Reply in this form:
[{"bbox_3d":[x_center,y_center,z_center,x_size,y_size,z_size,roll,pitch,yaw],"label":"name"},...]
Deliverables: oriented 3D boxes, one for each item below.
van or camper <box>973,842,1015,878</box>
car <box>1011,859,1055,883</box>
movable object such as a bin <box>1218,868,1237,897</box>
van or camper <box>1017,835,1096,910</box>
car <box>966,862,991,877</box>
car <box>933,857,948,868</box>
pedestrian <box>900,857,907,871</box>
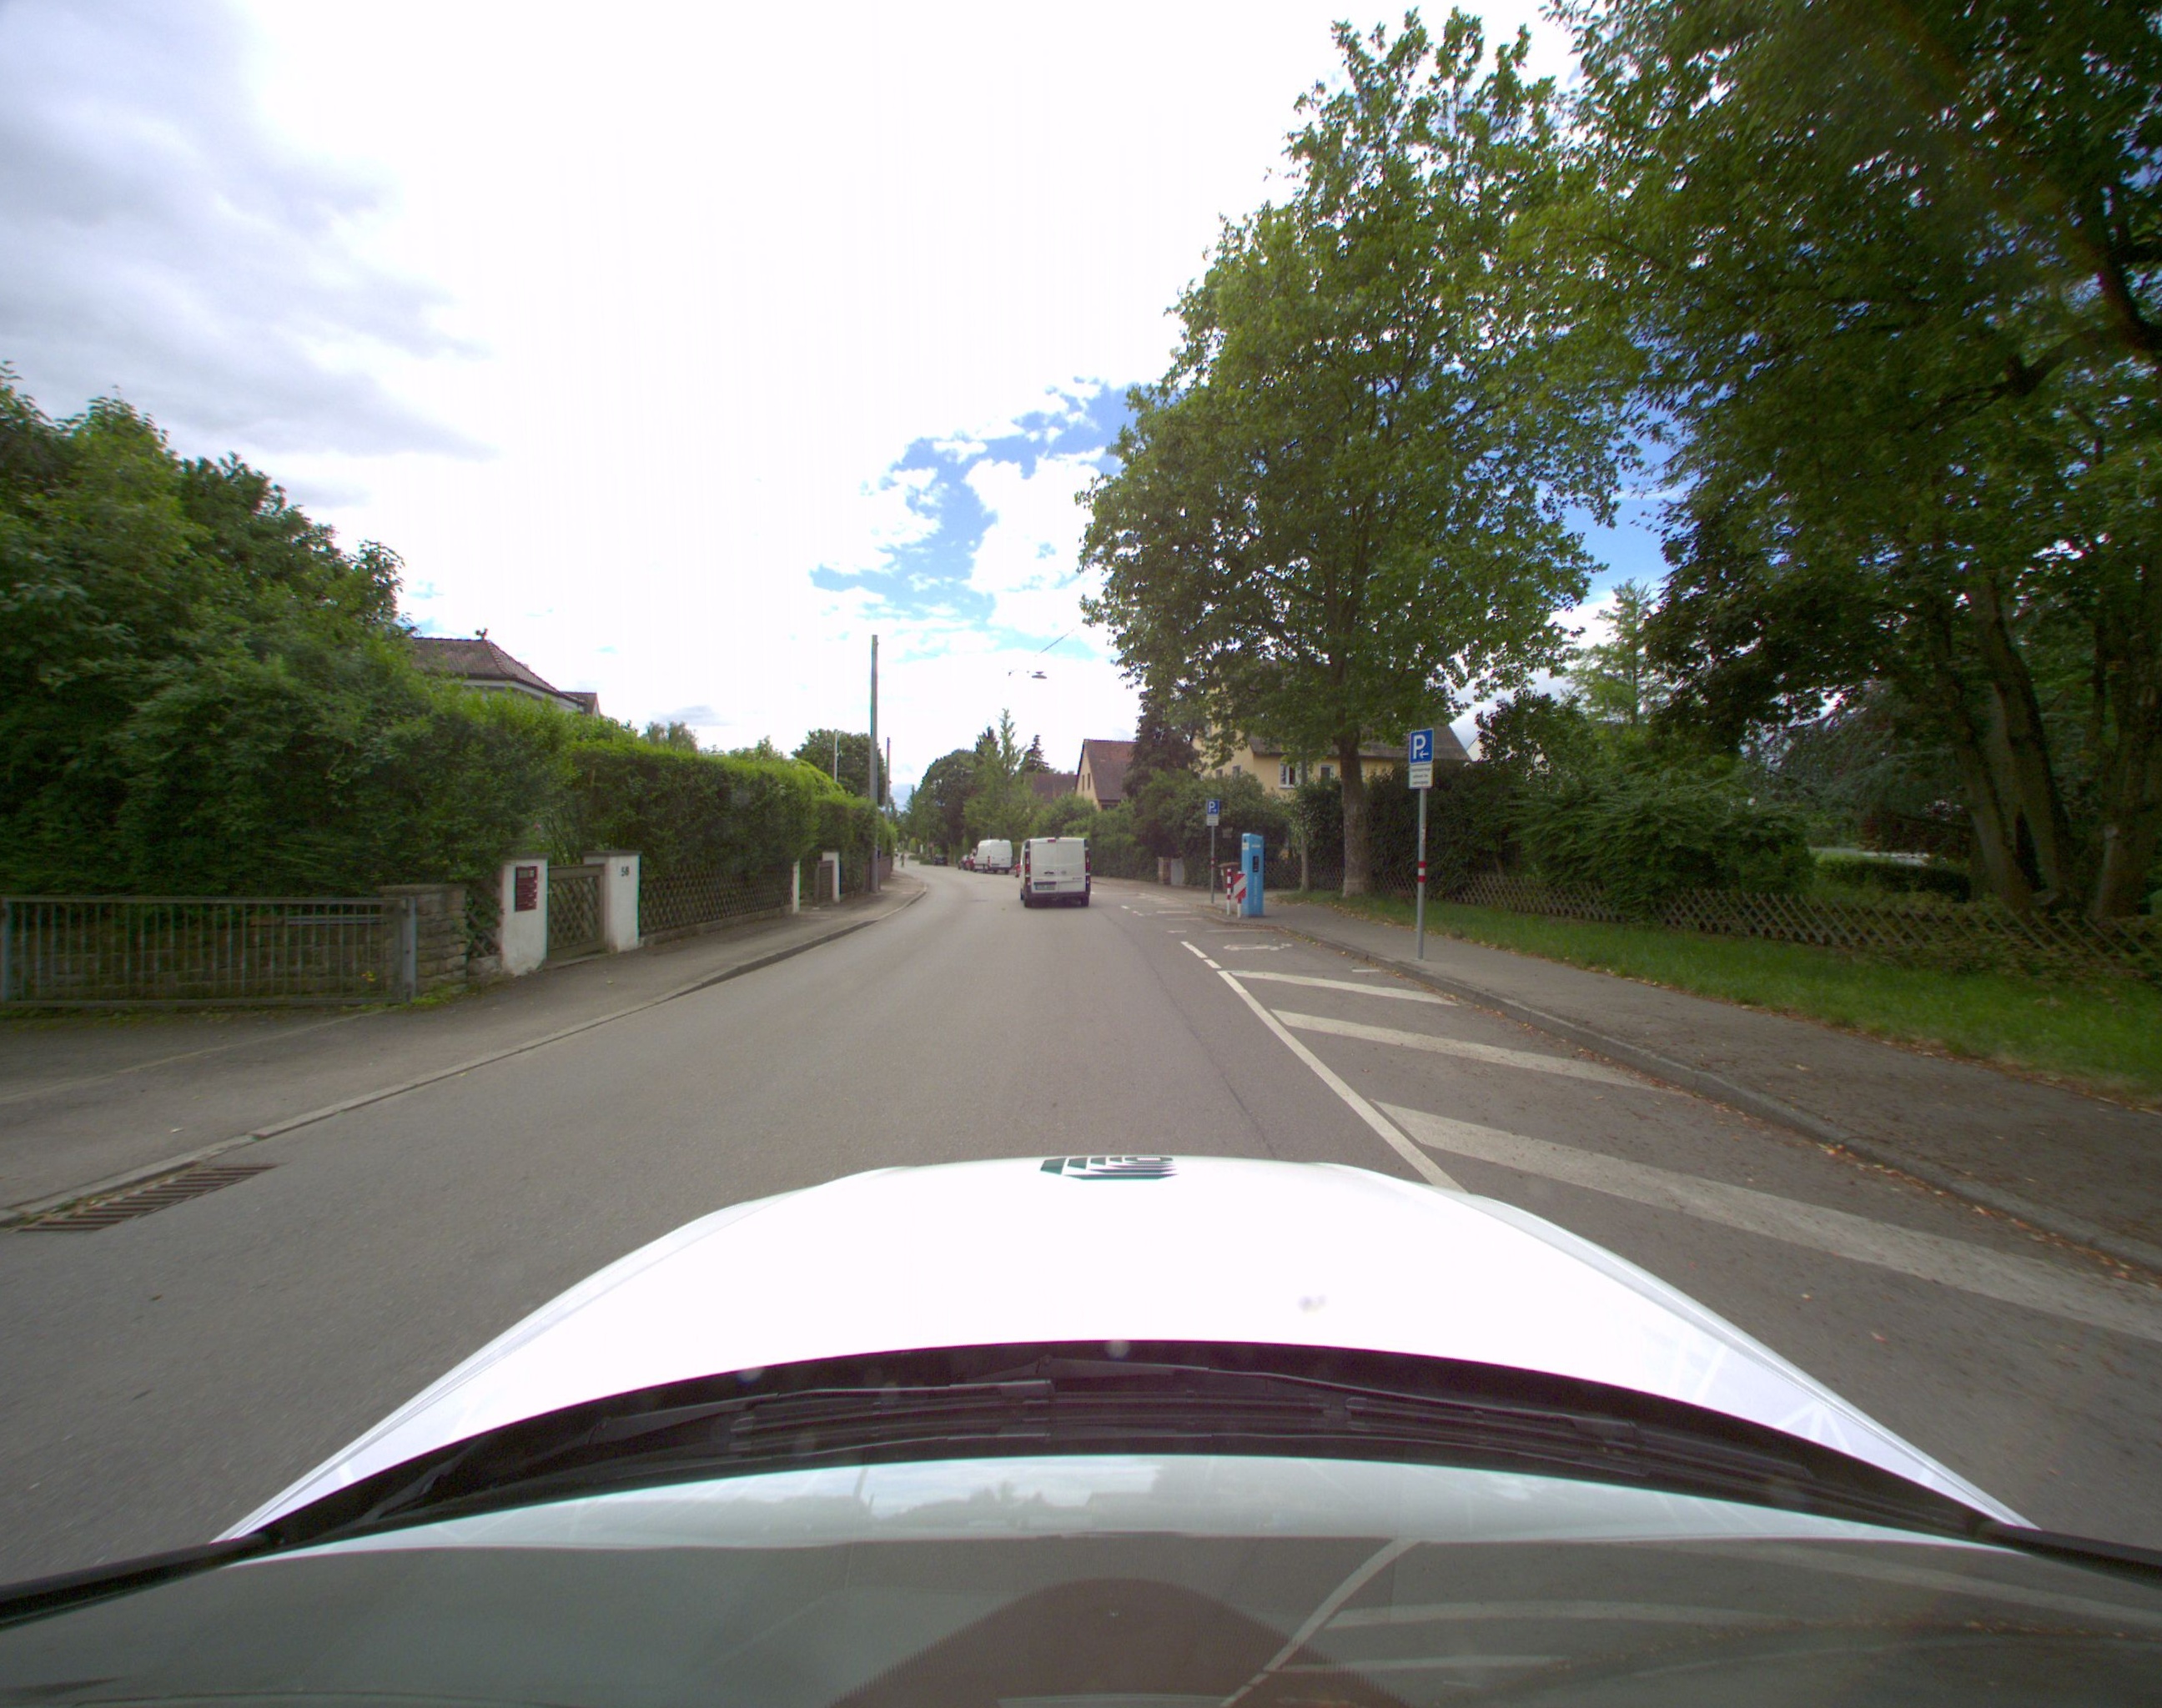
[{"bbox_3d":[-6.972,0.500,64.728,2.072,2.675,6.289,1,-1,-18],"label":"van or camper"},{"bbox_3d":[-3.102,1.037,51.756,1.717,1.467,4.241,0,0,-19],"label":"car"},{"bbox_3d":[5.377,1.042,29.927,0.602,1.069,0.568,1,-1,-1],"label":"movable object such as a bin"},{"bbox_3d":[-0.851,0.459,24.582,1.922,2.013,4.818,1,1,-7],"label":"van or camper"},{"bbox_3d":[-9.118,1.372,72.341,1.534,1.304,4.007,0,0,-17],"label":"car"},{"bbox_3d":[-17.879,1.104,103.690,1.534,1.304,3.208,0,0,-17],"label":"car"},{"bbox_3d":[-20.086,1.106,92.030,0.550,1.559,0.556,1,1,21],"label":"pedestrian"}]
